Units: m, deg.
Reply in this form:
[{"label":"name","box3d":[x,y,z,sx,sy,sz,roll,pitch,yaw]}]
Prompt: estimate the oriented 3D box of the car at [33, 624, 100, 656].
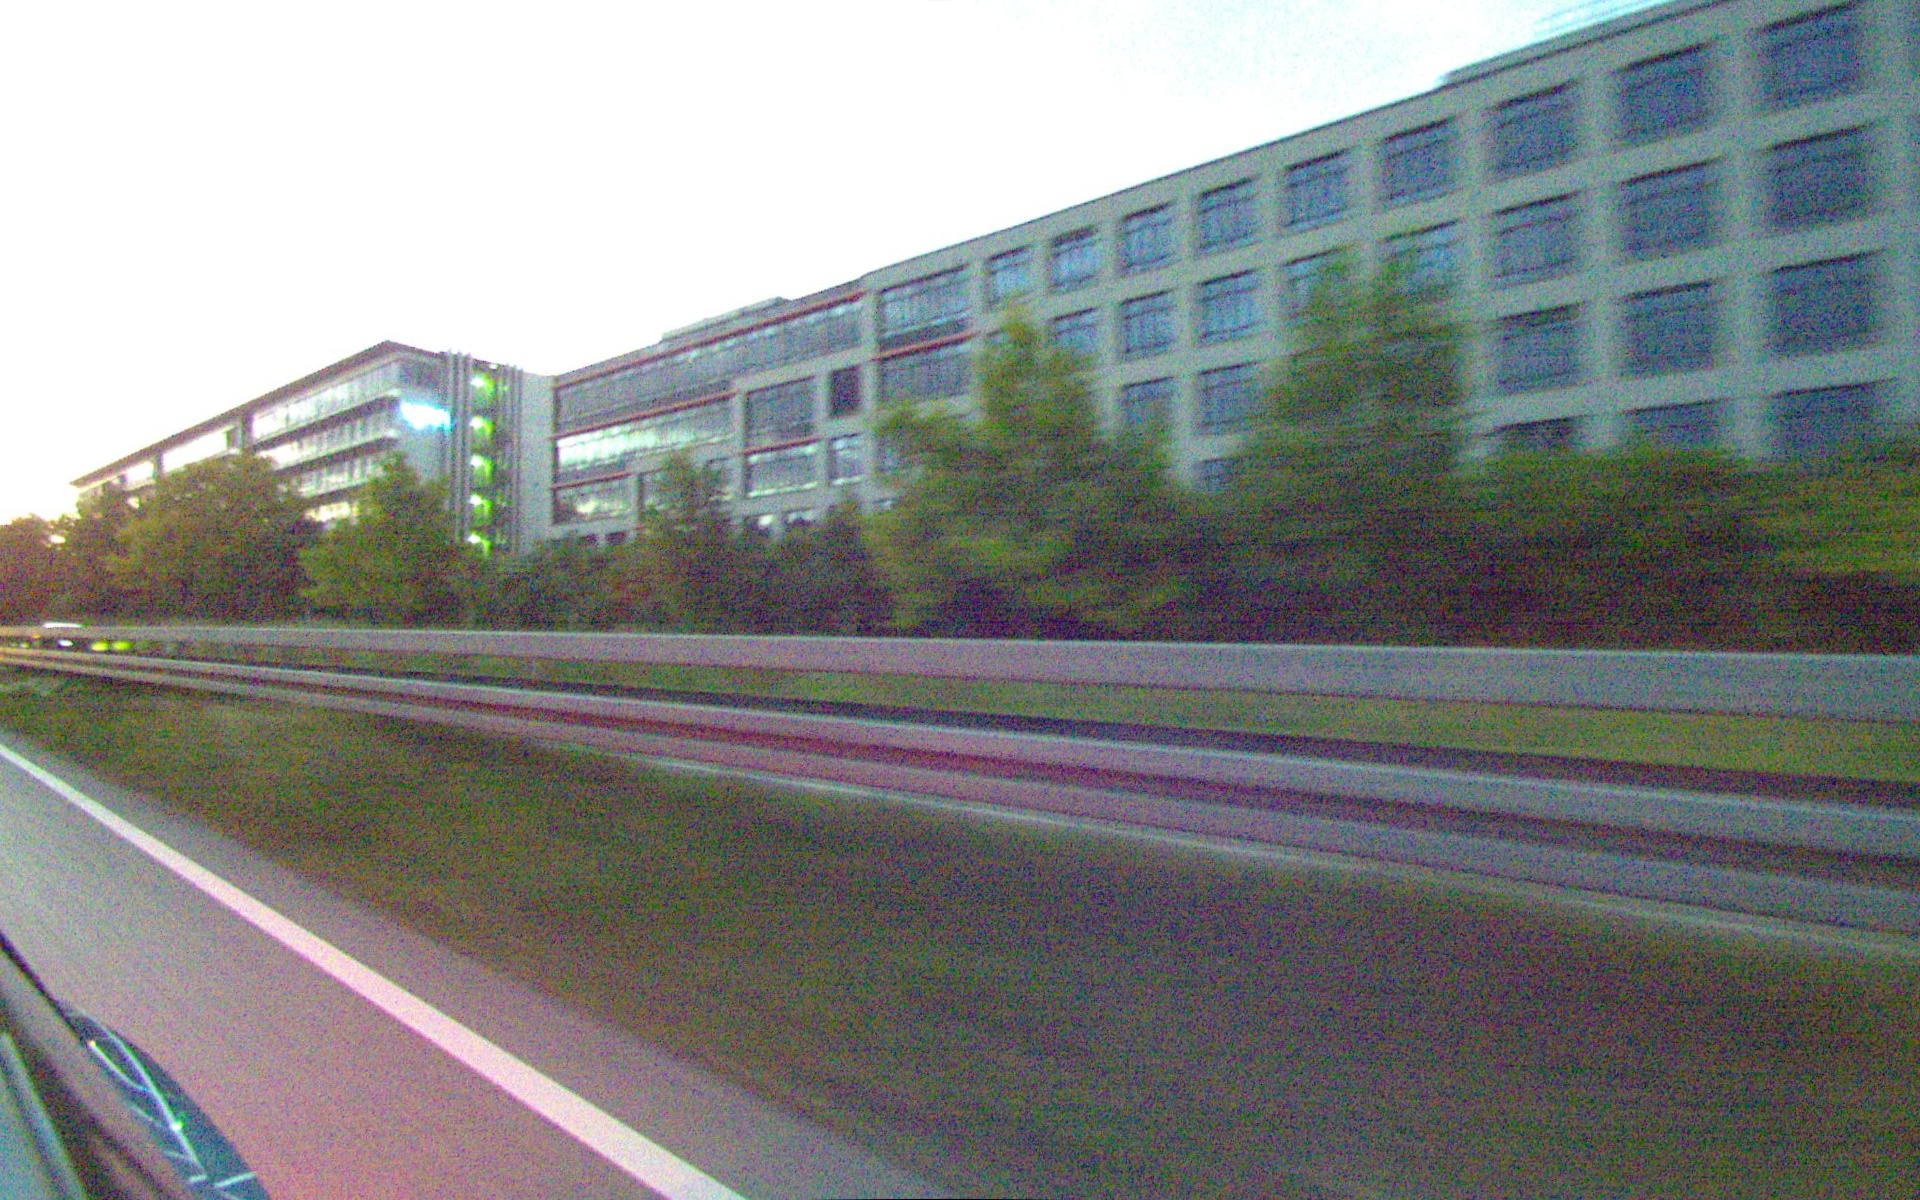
[{"label":"car","box3d":[-44.483,2.003,50.352,3.841,1.480,1.817,-2,-5,39]}]
